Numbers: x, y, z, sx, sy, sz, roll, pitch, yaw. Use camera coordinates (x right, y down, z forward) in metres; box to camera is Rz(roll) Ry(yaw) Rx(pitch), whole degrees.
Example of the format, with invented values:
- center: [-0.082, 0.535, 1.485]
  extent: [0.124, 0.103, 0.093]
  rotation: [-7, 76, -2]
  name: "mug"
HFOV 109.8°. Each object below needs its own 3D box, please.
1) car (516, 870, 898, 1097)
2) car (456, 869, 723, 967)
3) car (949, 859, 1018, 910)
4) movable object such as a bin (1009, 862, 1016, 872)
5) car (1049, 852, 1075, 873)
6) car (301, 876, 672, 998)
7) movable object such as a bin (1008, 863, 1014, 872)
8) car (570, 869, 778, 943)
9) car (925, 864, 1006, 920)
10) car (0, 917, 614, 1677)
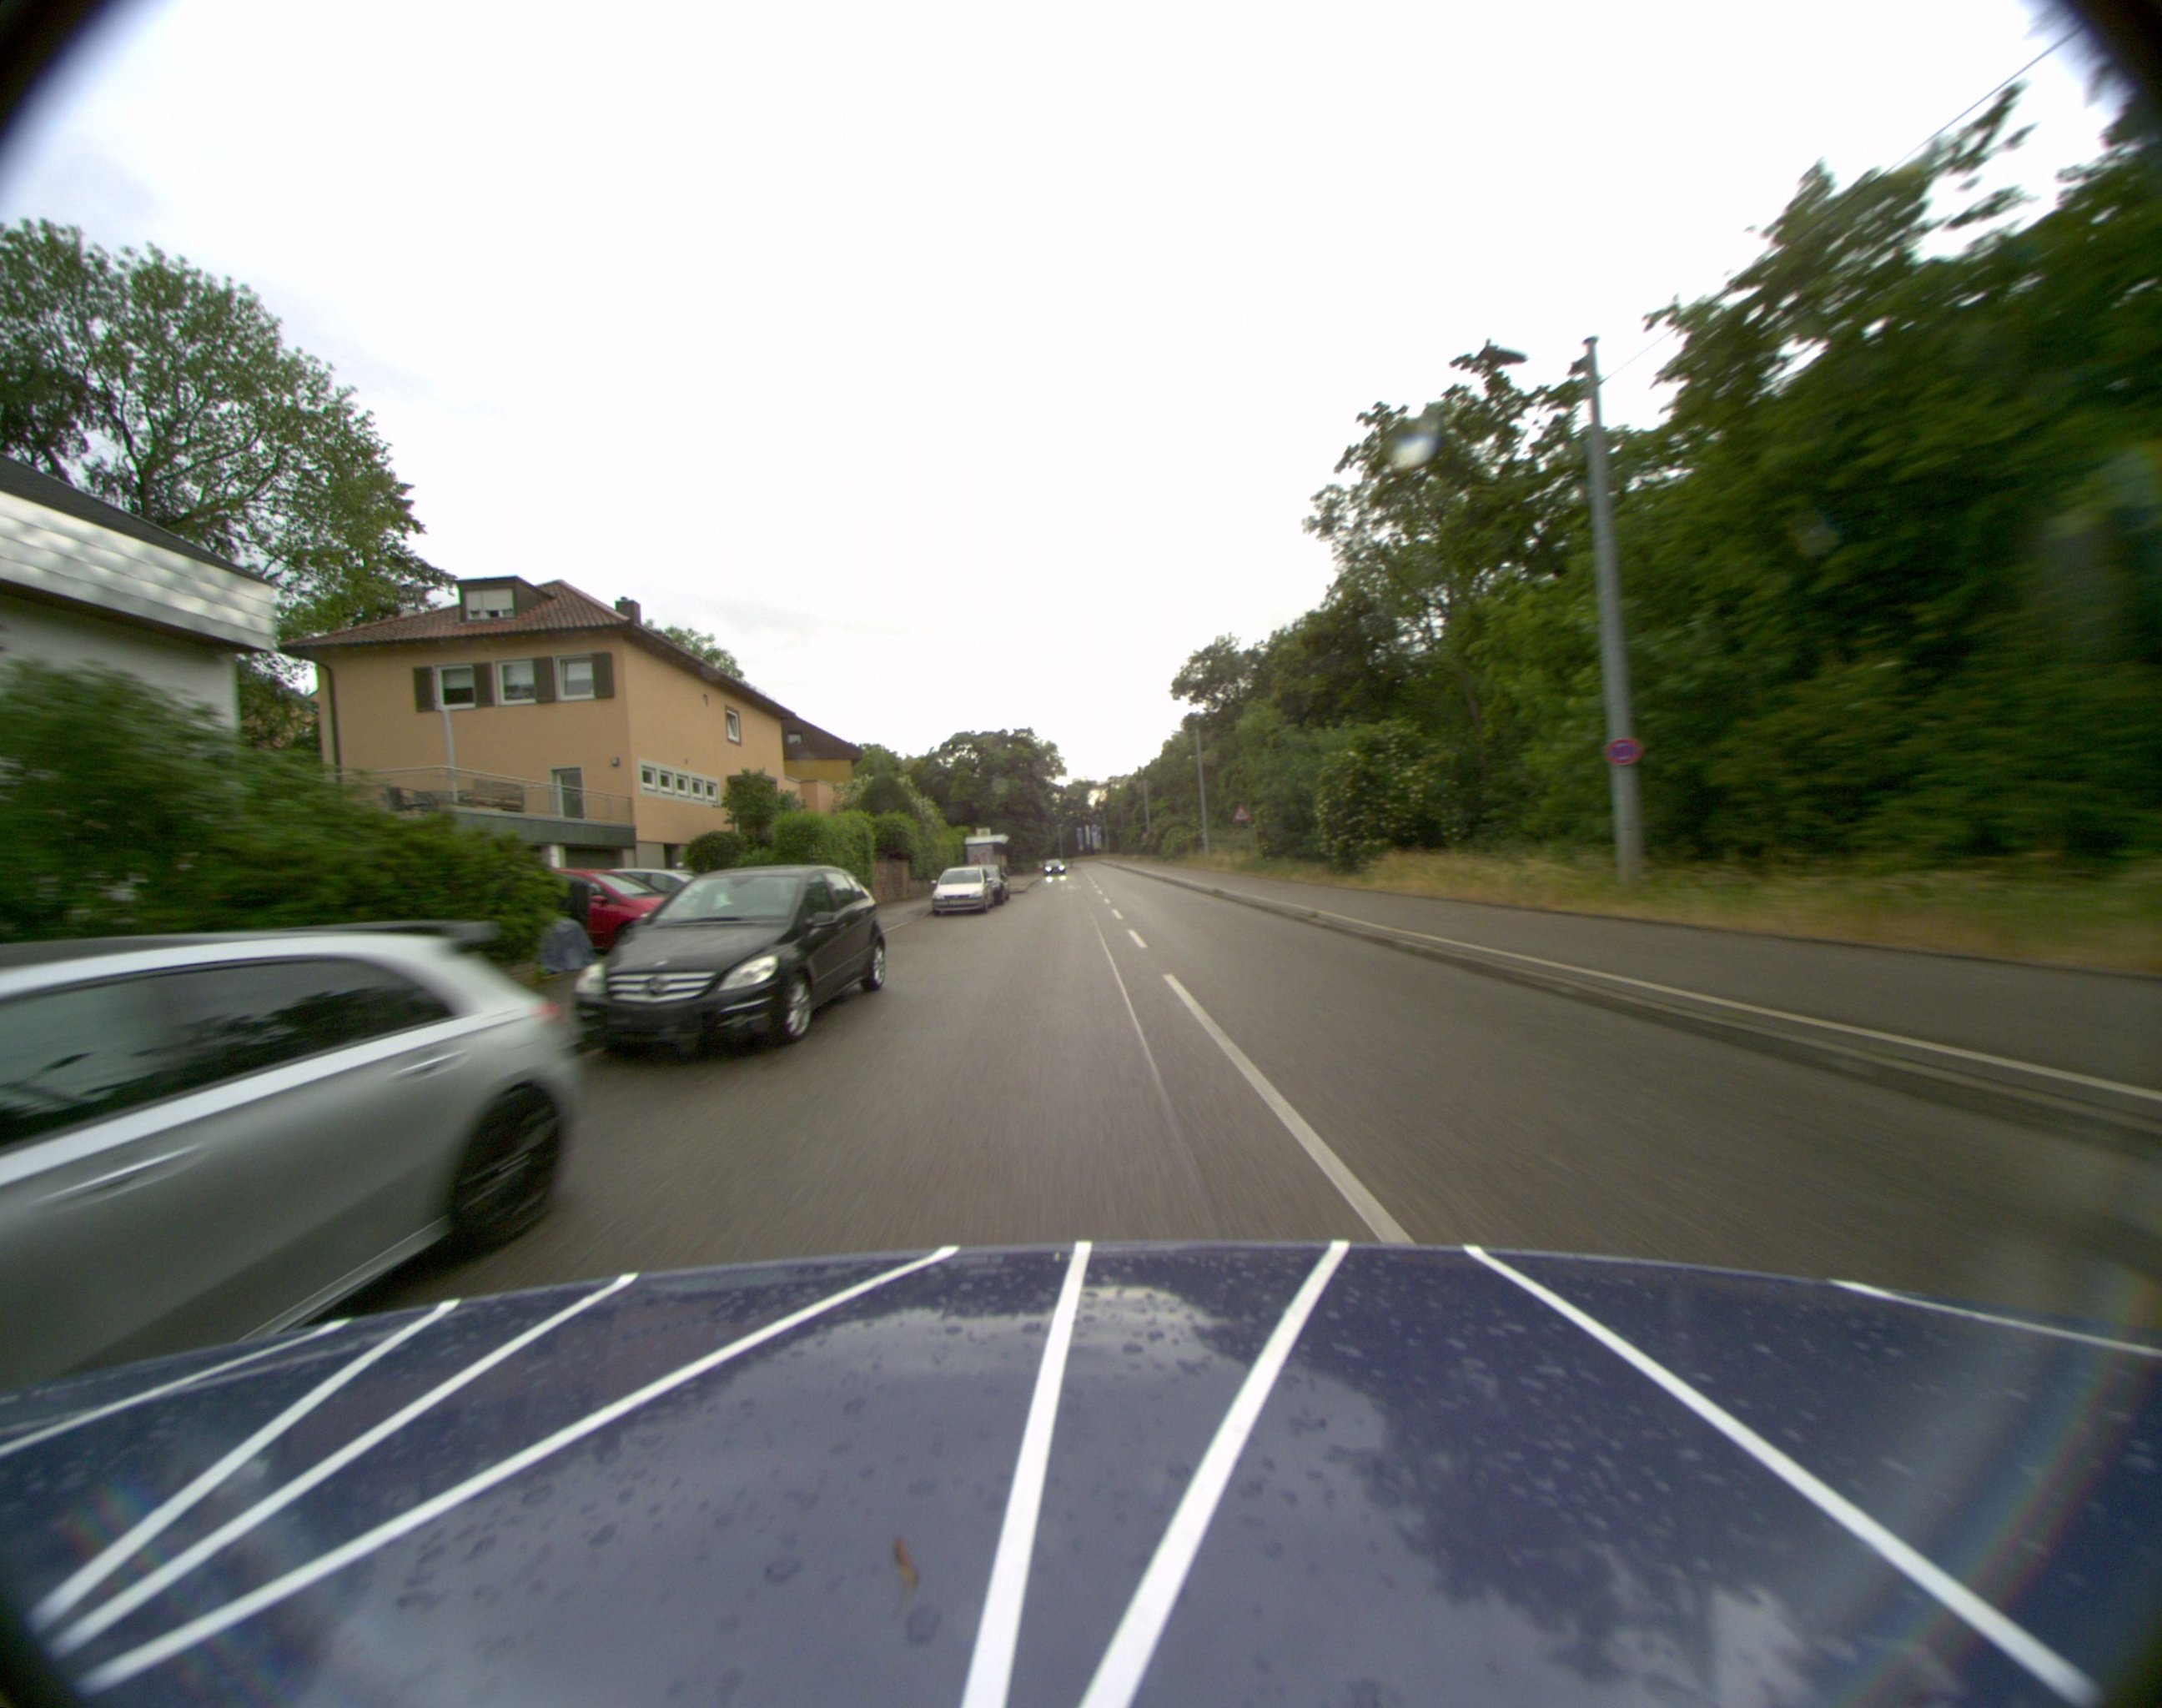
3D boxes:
- center: [-3.385, 1.033, 8.035]
  extent: [1.734, 1.558, 4.521]
  rotation: [-3, 0, 0]
  name: "car"
- center: [-8.937, 1.123, 14.077]
  extent: [3.667, 1.557, 1.882]
  rotation: [-2, 1, -1]
  name: "car"
- center: [-3.584, 1.072, 28.684]
  extent: [1.834, 1.538, 4.629]
  rotation: [-3, 1, 1]
  name: "car"
- center: [-7.683, 1.480, 84.938]
  extent: [0.666, 0.999, 0.659]
  rotation: [-5, 1, 0]
  name: "movable object such as a bin"
- center: [-1.683, 0.745, 68.043]
  extent: [1.998, 1.714, 4.000]
  rotation: [-3, 0, 2]
  name: "car"
- center: [-9.157, 1.240, 12.009]
  extent: [4.256, 1.452, 1.882]
  rotation: [-3, 1, -1]
  name: "car"
- center: [-7.743, 1.534, 84.197]
  extent: [0.570, 0.931, 0.549]
  rotation: [-5, 1, 0]
  name: "movable object such as a bin"
- center: [-9.002, 1.124, 17.074]
  extent: [3.668, 1.527, 1.828]
  rotation: [0, 0, -3]
  name: "car"
- center: [-3.572, 1.127, 24.173]
  extent: [1.817, 1.390, 4.102]
  rotation: [-3, 1, 1]
  name: "car"
- center: [-3.361, 1.157, 1.715]
  extent: [1.797, 1.478, 4.494]
  rotation: [-3, 1, -1]
  name: "car"
